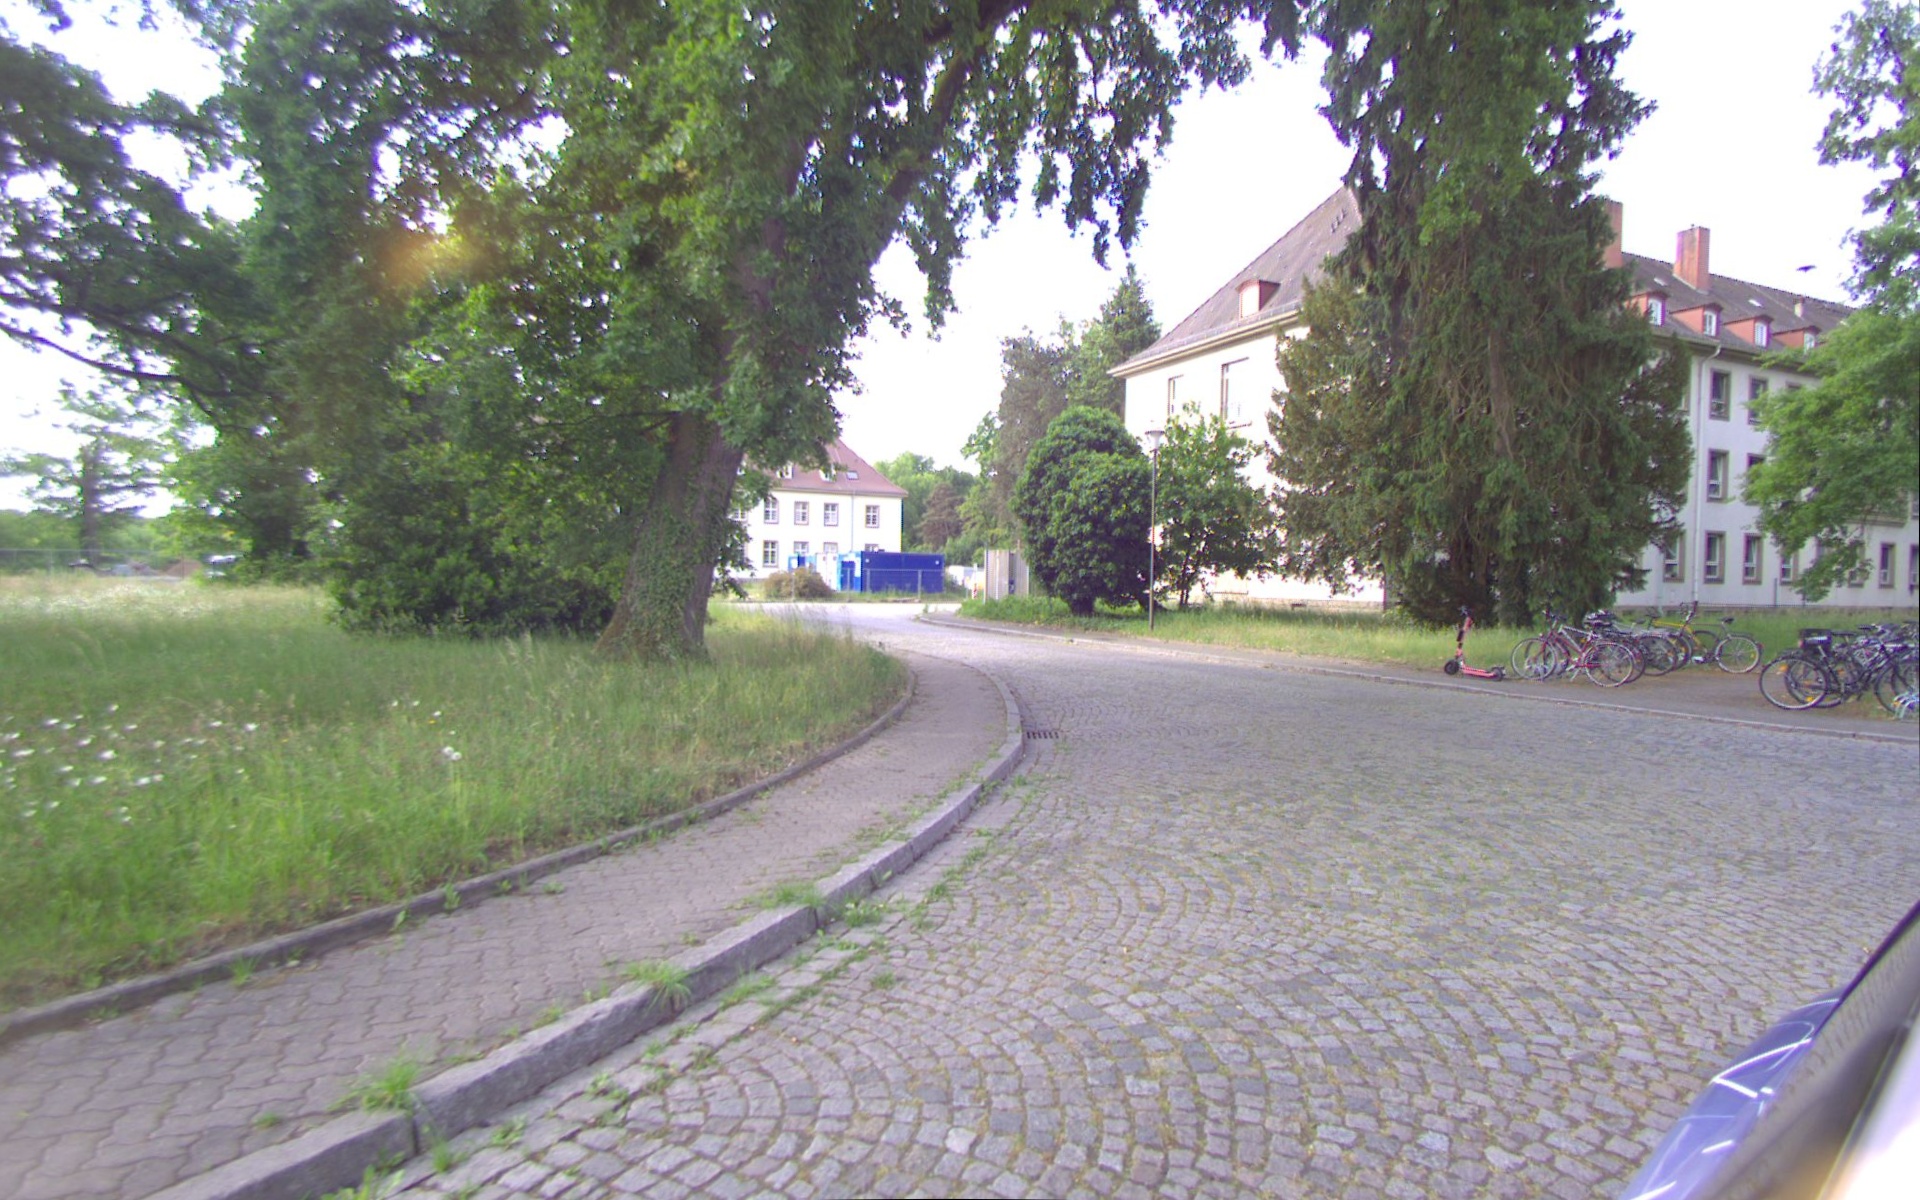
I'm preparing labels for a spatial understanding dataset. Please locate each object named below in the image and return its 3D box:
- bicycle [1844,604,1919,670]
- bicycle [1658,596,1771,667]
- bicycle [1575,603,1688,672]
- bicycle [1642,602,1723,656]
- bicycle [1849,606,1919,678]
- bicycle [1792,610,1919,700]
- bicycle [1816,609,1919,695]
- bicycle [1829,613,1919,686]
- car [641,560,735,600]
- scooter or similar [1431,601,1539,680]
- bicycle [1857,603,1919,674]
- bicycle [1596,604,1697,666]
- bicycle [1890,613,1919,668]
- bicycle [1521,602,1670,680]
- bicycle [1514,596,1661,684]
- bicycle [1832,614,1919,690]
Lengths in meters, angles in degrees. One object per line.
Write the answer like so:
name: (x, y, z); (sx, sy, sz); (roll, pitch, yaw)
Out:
bicycle: (16.151, 0.632, 17.224); (0.518, 1.072, 1.618); (-3, 2, -42)
bicycle: (13.893, 0.555, 18.661); (1.637, 1.200, 0.566); (2, 3, 41)
bicycle: (11.715, 0.627, 17.683); (1.620, 1.086, 0.533); (1, 3, 37)
bicycle: (14.566, 0.568, 20.415); (0.426, 1.042, 1.260); (3, -2, -42)
bicycle: (15.533, 0.679, 16.303); (0.532, 1.119, 1.773); (-3, 2, -42)
bicycle: (12.477, 0.727, 13.721); (0.691, 1.117, 1.770); (-3, 2, -42)
bicycle: (13.115, 0.715, 14.067); (0.691, 1.117, 1.795); (-3, 2, -42)
bicycle: (14.246, 0.733, 15.040); (0.675, 1.017, 1.956); (-3, 2, -42)
car: (-17.146, -1.258, 63.861); (5.416, 2.234, 2.132); (1, 3, -24)
scooter or similar: (8.740, 0.643, 16.905); (0.668, 1.210, 1.556); (0, 1, -20)
bicycle: (15.939, 0.634, 16.663); (0.532, 1.130, 1.698); (-3, 2, -42)
bicycle: (12.682, 0.623, 18.715); (1.507, 1.048, 0.538); (1, 3, 37)
bicycle: (16.922, 0.703, 17.186); (0.518, 0.922, 1.618); (-3, 2, -42)
bicycle: (10.452, 0.640, 16.714); (0.633, 1.128, 1.988); (-3, 4, -42)
bicycle: (10.010, 0.603, 16.206); (0.633, 1.237, 1.898); (-3, 4, -42)
bicycle: (13.650, 0.740, 14.493); (0.622, 1.014, 1.693); (-3, 2, -42)
